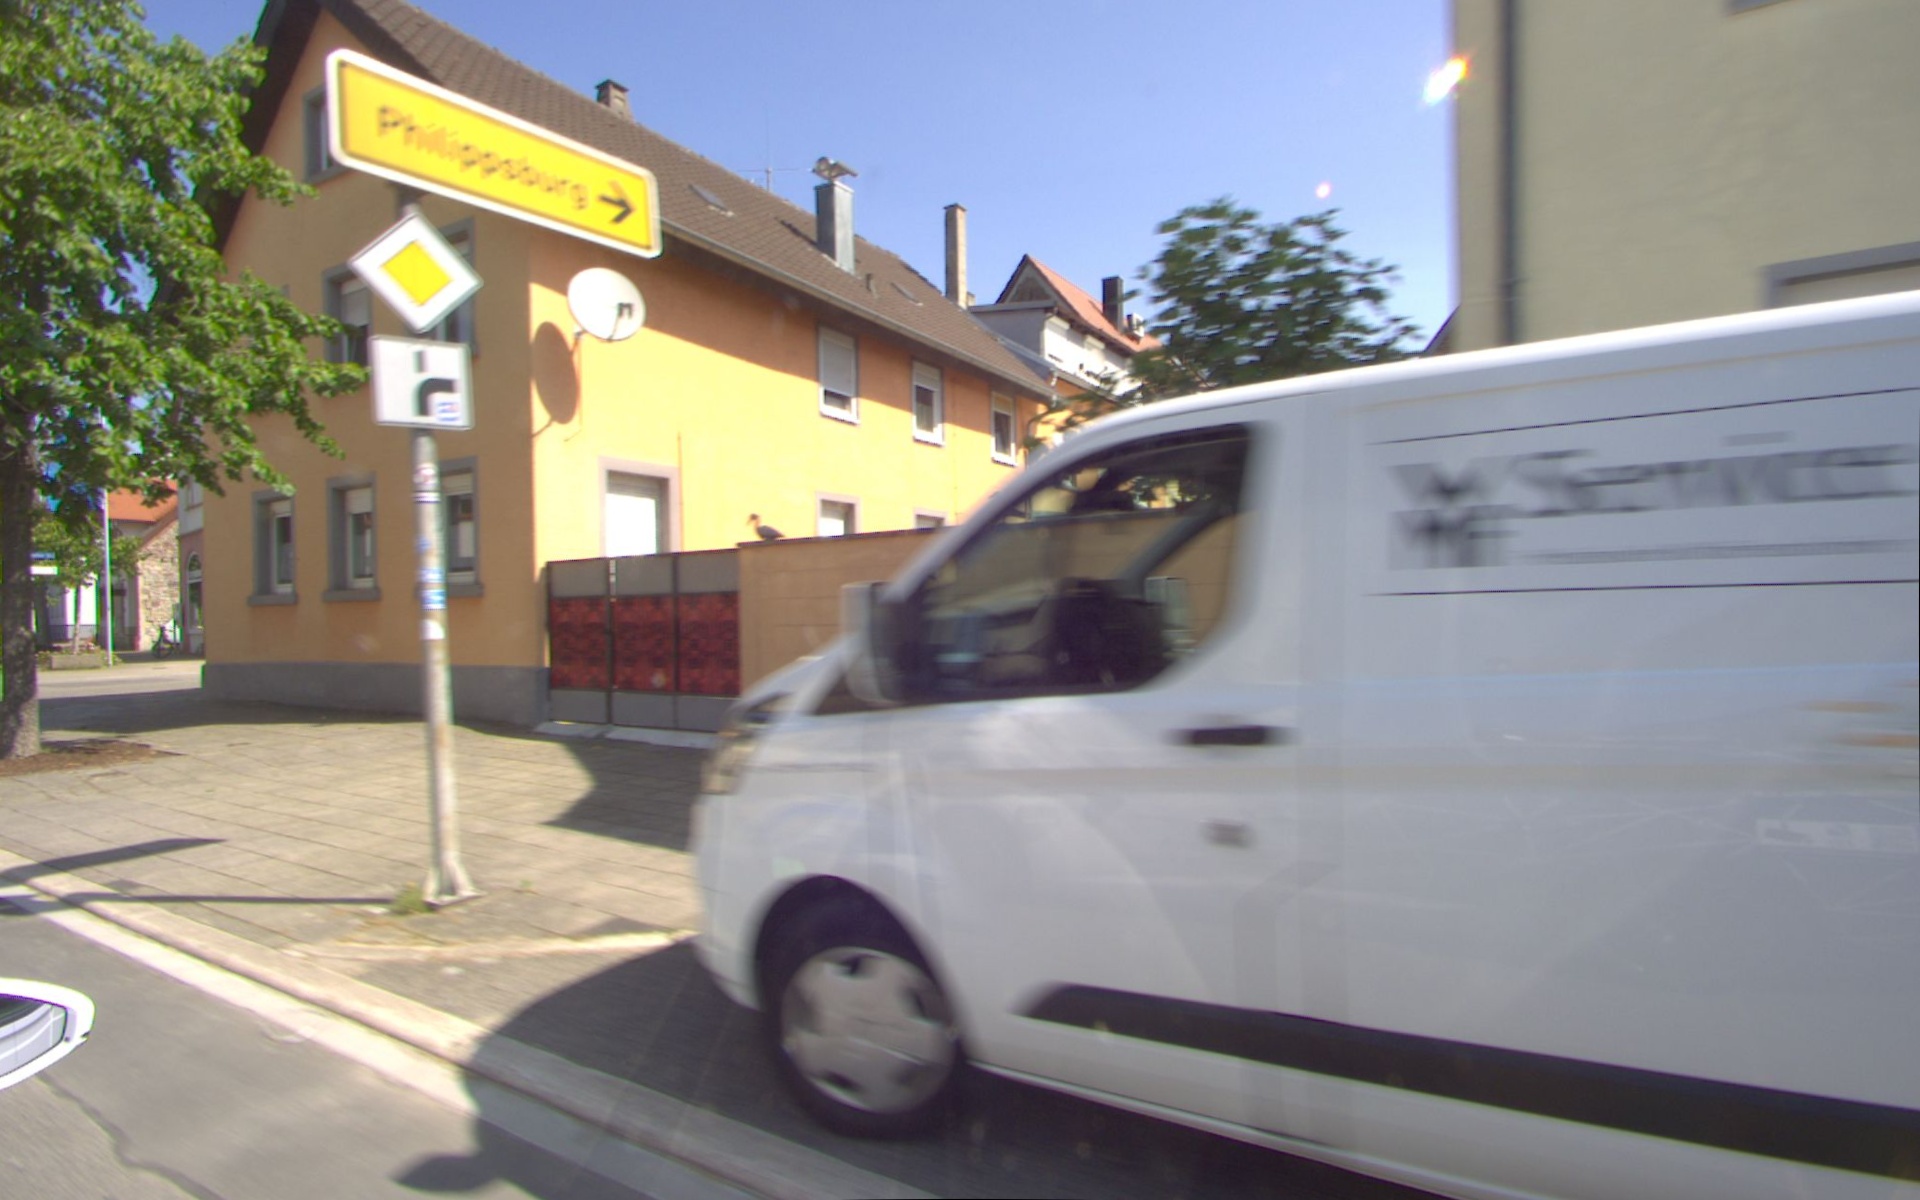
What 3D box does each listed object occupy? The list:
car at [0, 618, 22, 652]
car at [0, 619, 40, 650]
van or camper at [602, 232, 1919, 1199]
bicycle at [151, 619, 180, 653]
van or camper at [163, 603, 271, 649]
[{"bbox_3d":[-48.866,1.697,48.570,1.978,1.644,4.779,0,-1,42],"label":"car"},{"bbox_3d":[-43.773,1.557,44.647,1.978,1.362,3.904,-1,-1,42],"label":"car"},{"bbox_3d":[1.637,0.452,2.577,5.269,1.979,1.990,-1,-1,32],"label":"van or camper"},{"bbox_3d":[-27.746,1.252,34.952,0.589,1.151,1.731,-1,0,-45],"label":"bicycle"},{"bbox_3d":[-34.865,1.194,47.018,3.954,2.040,1.984,0,0,-39],"label":"van or camper"}]
